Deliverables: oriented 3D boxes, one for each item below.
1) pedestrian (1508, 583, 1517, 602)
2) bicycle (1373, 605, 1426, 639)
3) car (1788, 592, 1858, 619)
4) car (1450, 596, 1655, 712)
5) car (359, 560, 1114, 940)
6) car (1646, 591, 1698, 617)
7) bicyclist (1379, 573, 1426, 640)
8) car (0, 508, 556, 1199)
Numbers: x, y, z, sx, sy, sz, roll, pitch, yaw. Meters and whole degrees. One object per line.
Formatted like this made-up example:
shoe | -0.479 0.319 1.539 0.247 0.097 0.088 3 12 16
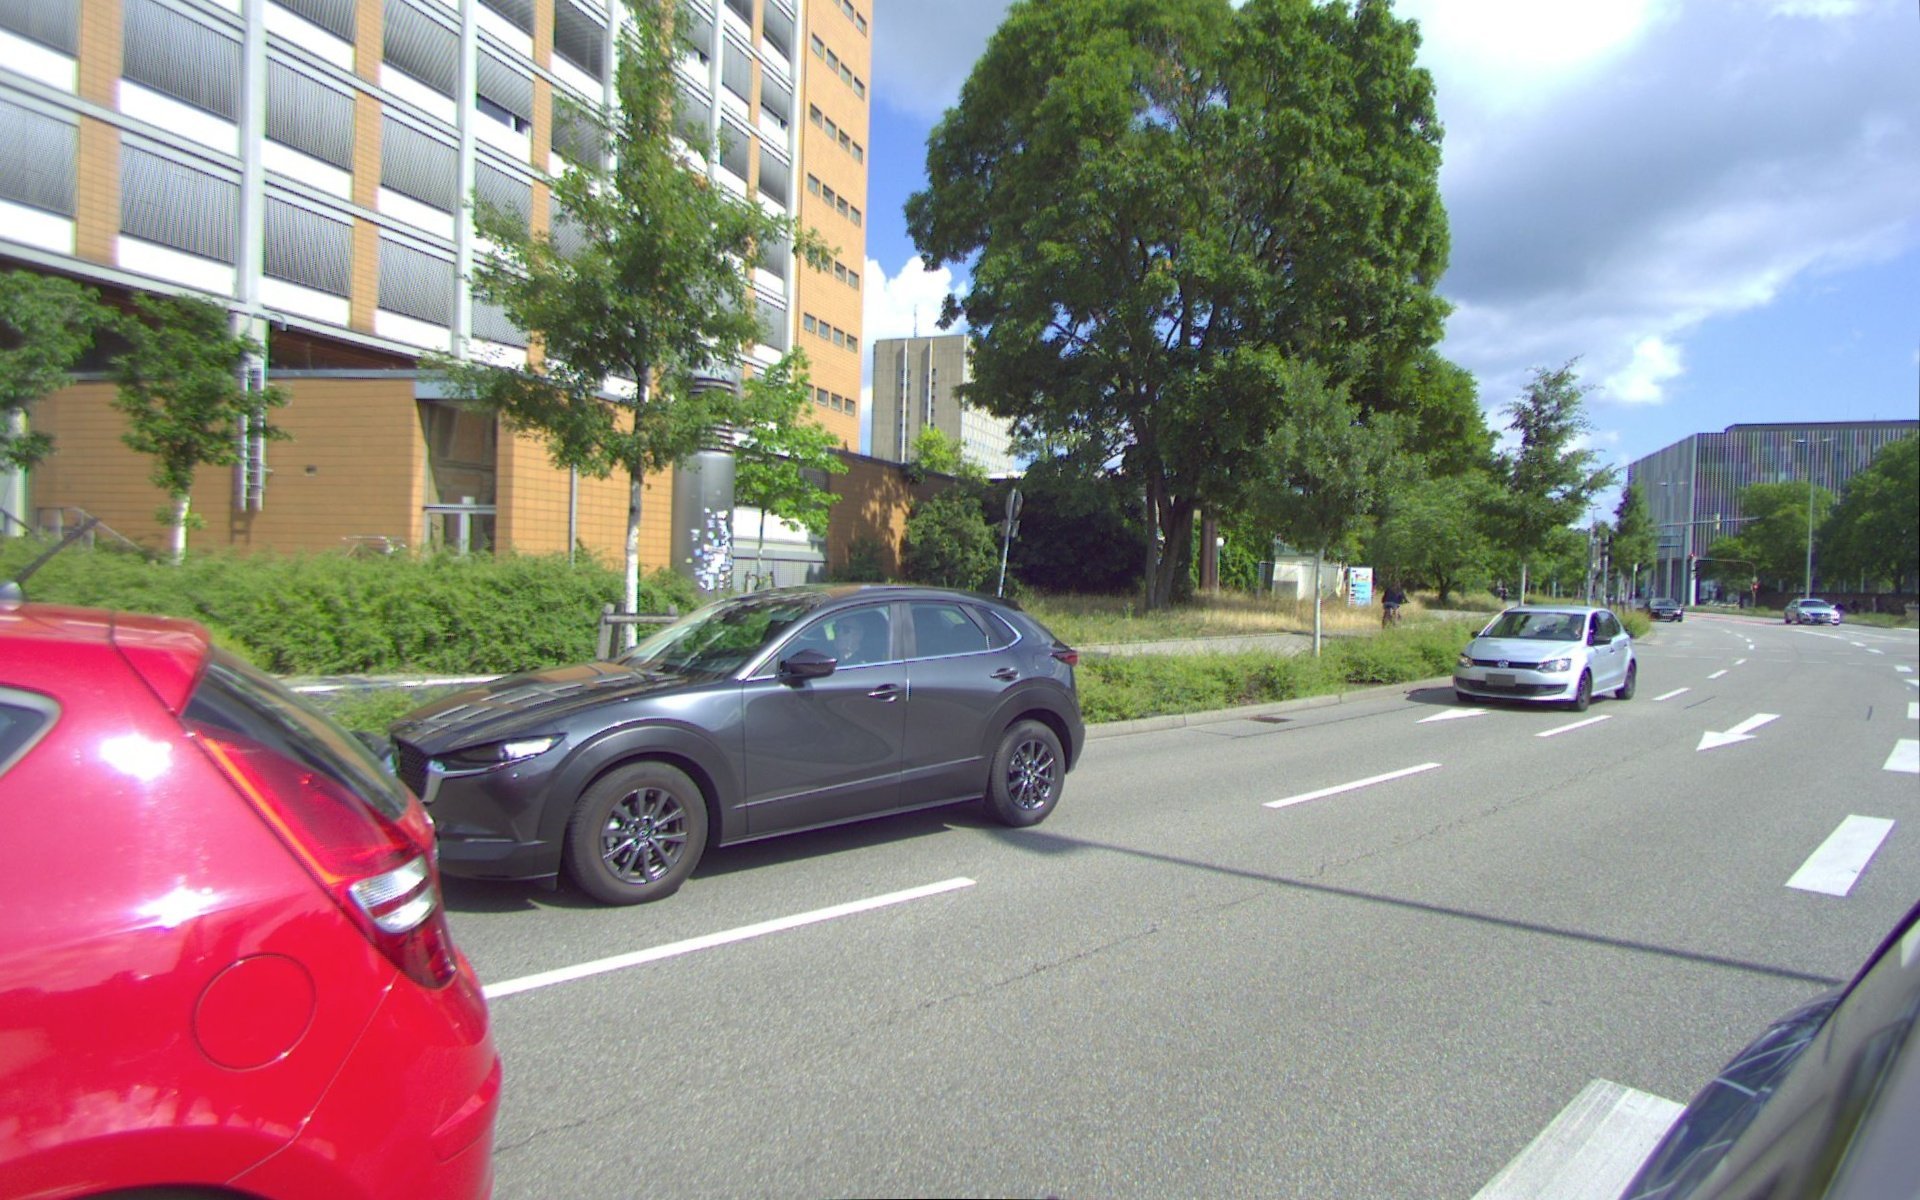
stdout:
pedestrian | 48.765 -0.641 89.351 0.535 1.628 0.521 2 -1 20
bicycle | 11.758 0.579 27.030 1.759 0.820 0.626 0 3 -43
car | 49.508 0.268 58.193 2.043 1.460 4.734 0 1 28
car | 8.867 0.699 15.011 3.939 1.460 1.652 0 1 -45
car | -1.092 0.590 6.140 4.132 1.527 1.809 0 1 -42
car | 43.279 0.196 61.612 1.982 1.394 4.120 3 2 28
bicyclist | 11.826 0.162 27.042 0.949 1.723 0.737 0 3 -43
car | -2.808 0.648 1.157 3.997 1.458 1.819 -1 -1 -41
